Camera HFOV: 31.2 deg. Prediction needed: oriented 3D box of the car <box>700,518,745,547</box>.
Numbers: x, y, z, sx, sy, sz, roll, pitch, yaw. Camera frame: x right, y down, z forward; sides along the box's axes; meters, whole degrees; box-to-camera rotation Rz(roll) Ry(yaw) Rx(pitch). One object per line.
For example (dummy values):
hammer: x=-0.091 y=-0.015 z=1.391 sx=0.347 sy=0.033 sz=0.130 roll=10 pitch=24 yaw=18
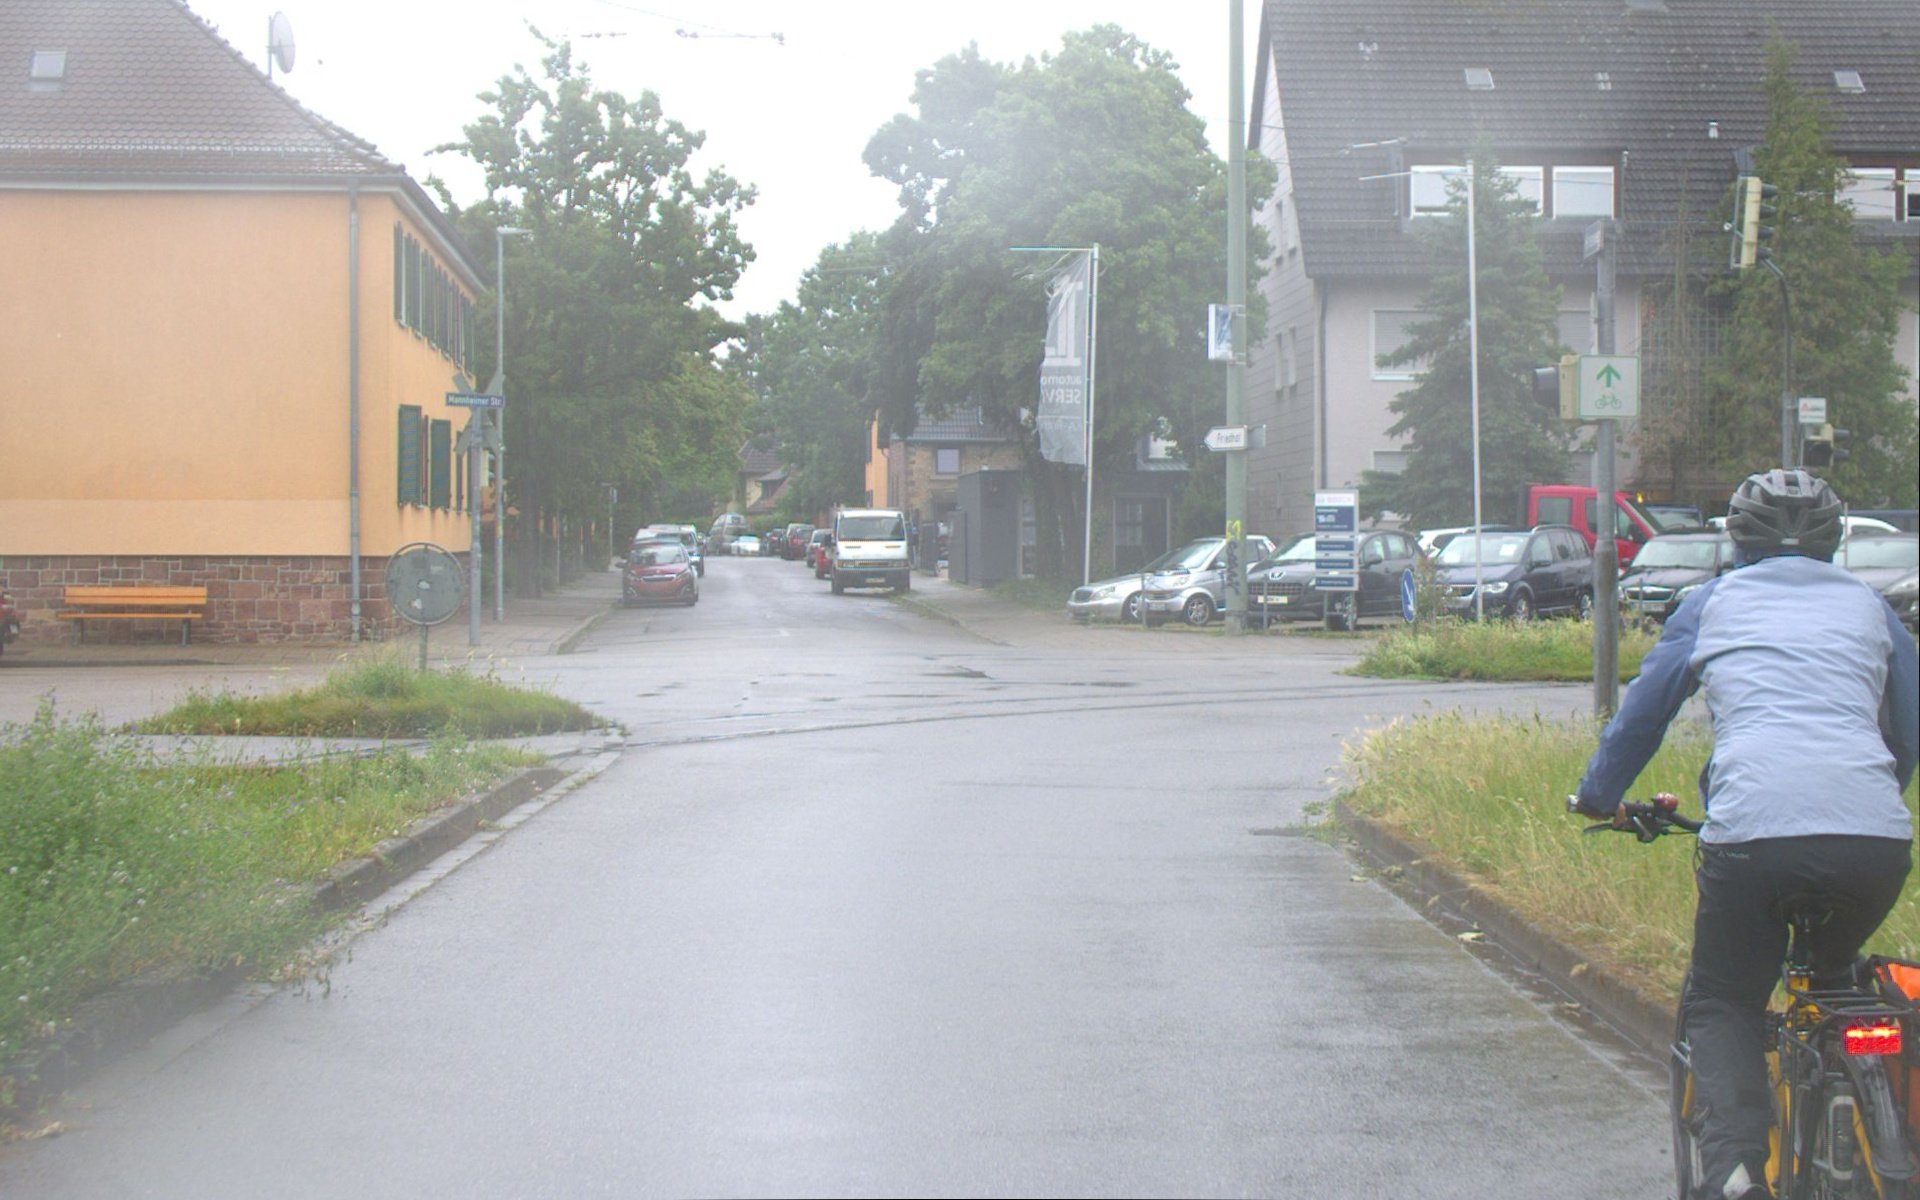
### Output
car: x=-14.980 y=-4.240 z=216.453 sx=1.828 sy=1.691 sz=4.033 roll=2 pitch=1 yaw=-18

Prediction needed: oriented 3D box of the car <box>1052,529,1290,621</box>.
car: x=3.787 y=-0.467 z=61.756 sx=3.858 sy=1.573 sz=1.808 roll=-1 pitch=1 yaw=-21

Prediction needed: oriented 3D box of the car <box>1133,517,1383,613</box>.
car: x=5.096 y=-0.617 z=58.834 sx=3.858 sy=1.573 sz=1.808 roll=-1 pitch=1 yaw=-21

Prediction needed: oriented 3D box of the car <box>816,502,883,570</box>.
car: x=-3.482 y=-2.009 z=107.689 sx=1.993 sy=2.007 sz=4.001 roll=2 pitch=1 yaw=-2

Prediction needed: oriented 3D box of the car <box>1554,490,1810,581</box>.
car: x=13.629 y=-1.214 z=65.104 sx=4.432 sy=1.681 sz=2.000 roll=0 pitch=0 yaw=1

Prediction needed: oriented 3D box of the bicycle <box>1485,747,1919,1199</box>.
bicycle: x=1.492 y=0.871 z=6.302 sx=0.752 sy=1.069 sz=1.927 roll=-1 pitch=1 yaw=0

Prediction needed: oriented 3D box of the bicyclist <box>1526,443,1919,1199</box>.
bicyclist: x=1.482 y=0.470 z=6.237 sx=0.751 sy=1.480 sz=0.846 roll=-1 pitch=1 yaw=0

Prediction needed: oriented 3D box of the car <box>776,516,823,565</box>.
car: x=-6.903 y=-2.572 z=147.211 sx=1.828 sy=2.007 sz=4.001 roll=2 pitch=1 yaw=-4

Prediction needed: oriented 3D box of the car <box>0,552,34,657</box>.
car: x=-14.294 y=-0.009 z=45.560 sx=3.604 sy=1.334 sz=1.723 roll=2 pitch=1 yaw=-4

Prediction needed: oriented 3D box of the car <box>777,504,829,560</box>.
car: x=-5.882 y=-2.553 z=128.411 sx=1.828 sy=2.007 sz=4.001 roll=2 pitch=1 yaw=-4

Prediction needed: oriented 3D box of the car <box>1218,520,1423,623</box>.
car: x=5.816 y=-0.479 z=55.136 sx=1.805 sy=1.573 sz=3.865 roll=0 pitch=1 yaw=31

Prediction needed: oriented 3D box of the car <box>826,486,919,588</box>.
car: x=-2.319 y=-1.661 z=90.415 sx=2.153 sy=2.563 sz=4.134 roll=2 pitch=1 yaw=-4

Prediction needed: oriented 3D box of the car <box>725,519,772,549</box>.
car: x=-13.011 y=-4.062 z=211.075 sx=1.828 sy=1.691 sz=4.033 roll=2 pitch=1 yaw=-18

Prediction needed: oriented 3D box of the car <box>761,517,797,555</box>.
car: x=-10.169 y=-3.596 z=192.866 sx=1.828 sy=2.007 sz=4.001 roll=2 pitch=1 yaw=-4

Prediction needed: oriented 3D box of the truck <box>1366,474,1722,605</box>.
truck: x=10.498 y=-1.061 z=61.780 sx=6.088 sy=2.264 sz=1.998 roll=0 pitch=0 yaw=18

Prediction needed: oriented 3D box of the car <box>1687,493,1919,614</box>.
car: x=14.728 y=-0.775 z=58.153 sx=4.432 sy=2.007 sz=2.000 roll=0 pitch=0 yaw=1

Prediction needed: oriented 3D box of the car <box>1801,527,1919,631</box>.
car: x=14.426 y=-0.320 z=53.232 sx=1.830 sy=1.499 sz=4.052 roll=3 pitch=1 yaw=26

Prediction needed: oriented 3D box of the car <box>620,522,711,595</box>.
car: x=-6.660 y=-0.951 z=78.123 sx=1.993 sy=1.612 sz=4.001 roll=0 pitch=1 yaw=-4

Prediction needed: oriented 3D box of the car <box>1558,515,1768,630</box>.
car: x=10.932 y=-0.449 z=53.278 sx=1.997 sy=1.711 sz=3.993 roll=0 pitch=1 yaw=31

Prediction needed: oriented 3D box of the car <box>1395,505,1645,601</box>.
car: x=9.624 y=-0.790 z=58.961 sx=3.969 sy=1.592 sz=1.998 roll=0 pitch=0 yaw=18

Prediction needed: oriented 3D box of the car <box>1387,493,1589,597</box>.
car: x=8.314 y=-0.879 z=53.939 sx=1.805 sy=1.573 sz=3.865 roll=0 pitch=1 yaw=31
